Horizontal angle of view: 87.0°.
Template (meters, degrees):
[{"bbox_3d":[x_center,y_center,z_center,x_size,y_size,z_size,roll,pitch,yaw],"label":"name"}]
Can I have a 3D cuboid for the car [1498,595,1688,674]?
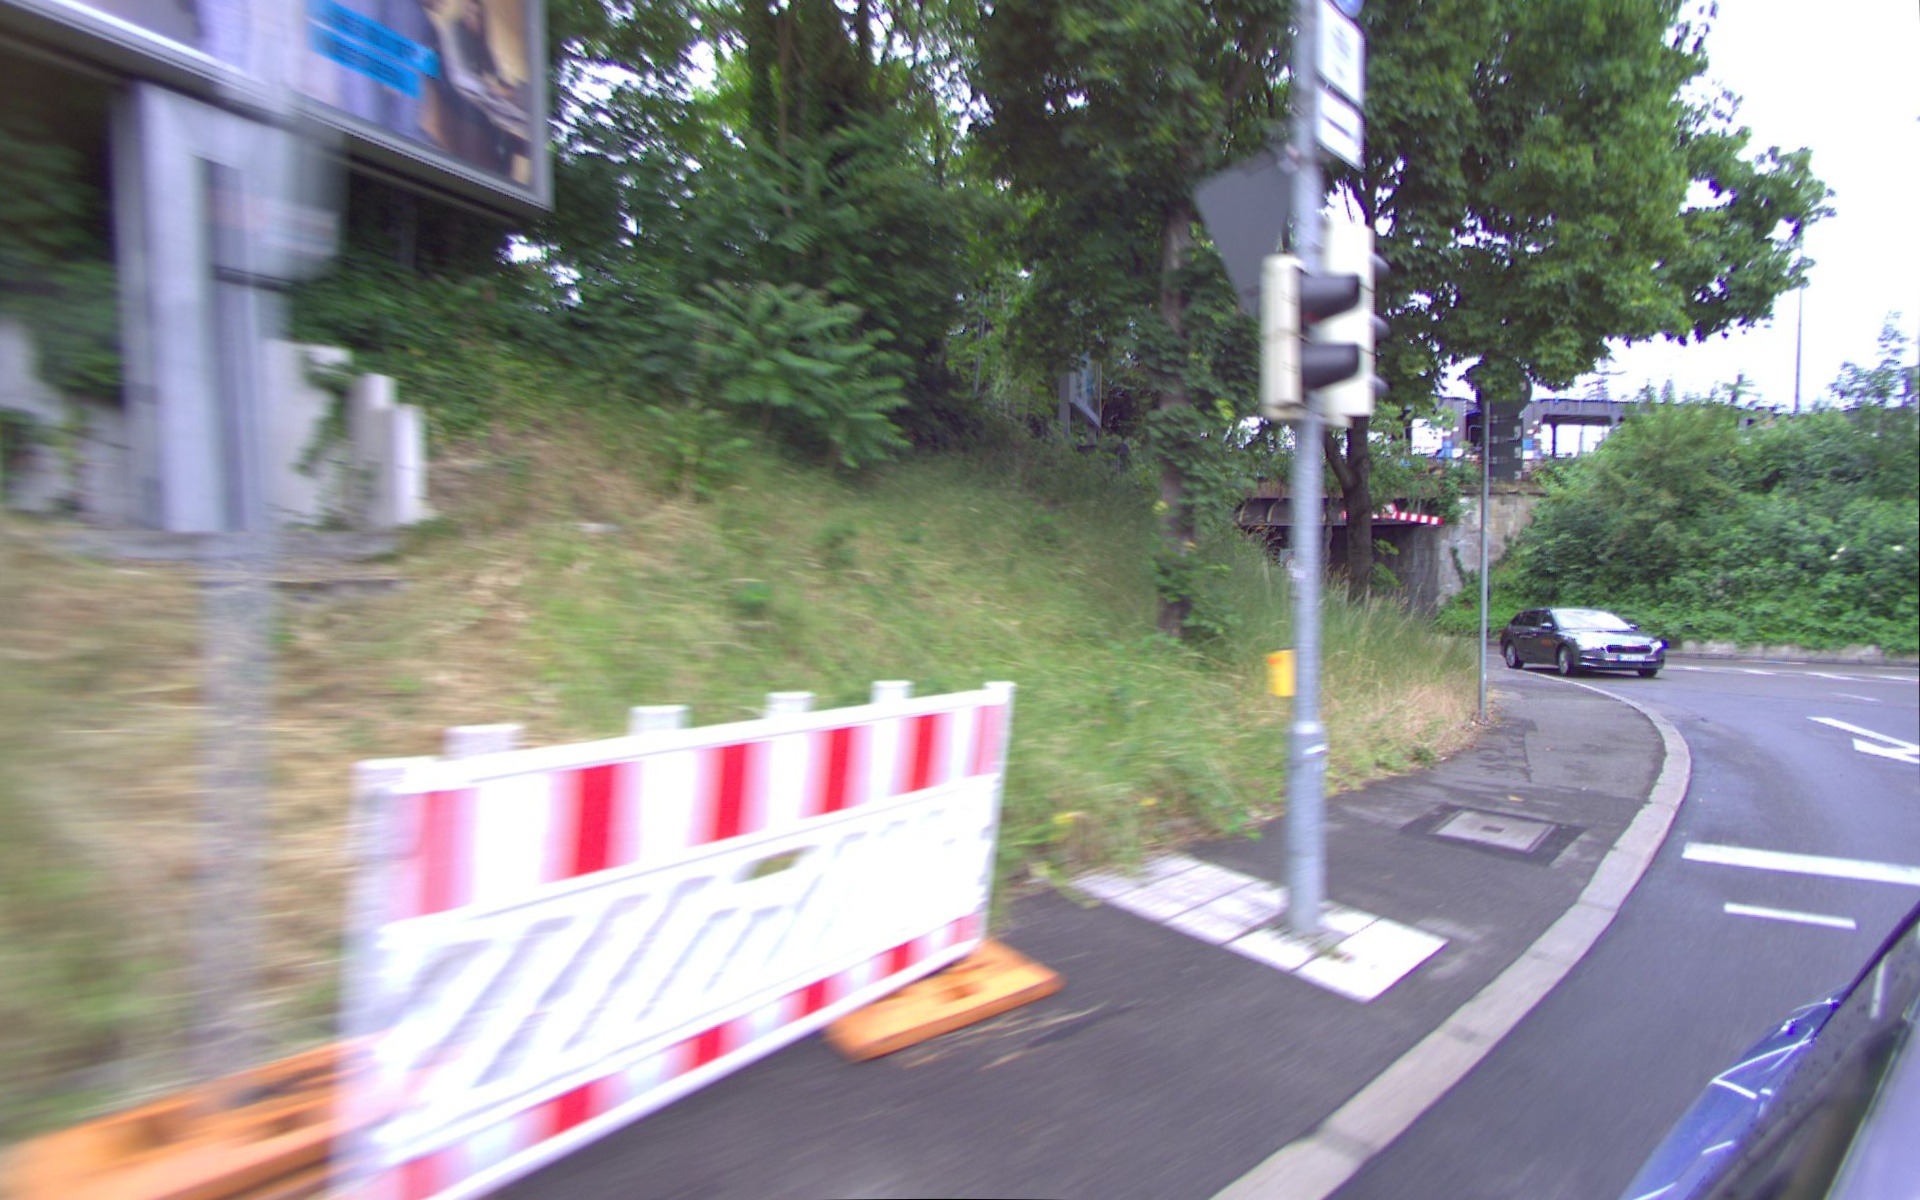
[{"bbox_3d":[13.582,0.702,22.026,1.780,1.537,4.046,-1,-1,4],"label":"car"}]
